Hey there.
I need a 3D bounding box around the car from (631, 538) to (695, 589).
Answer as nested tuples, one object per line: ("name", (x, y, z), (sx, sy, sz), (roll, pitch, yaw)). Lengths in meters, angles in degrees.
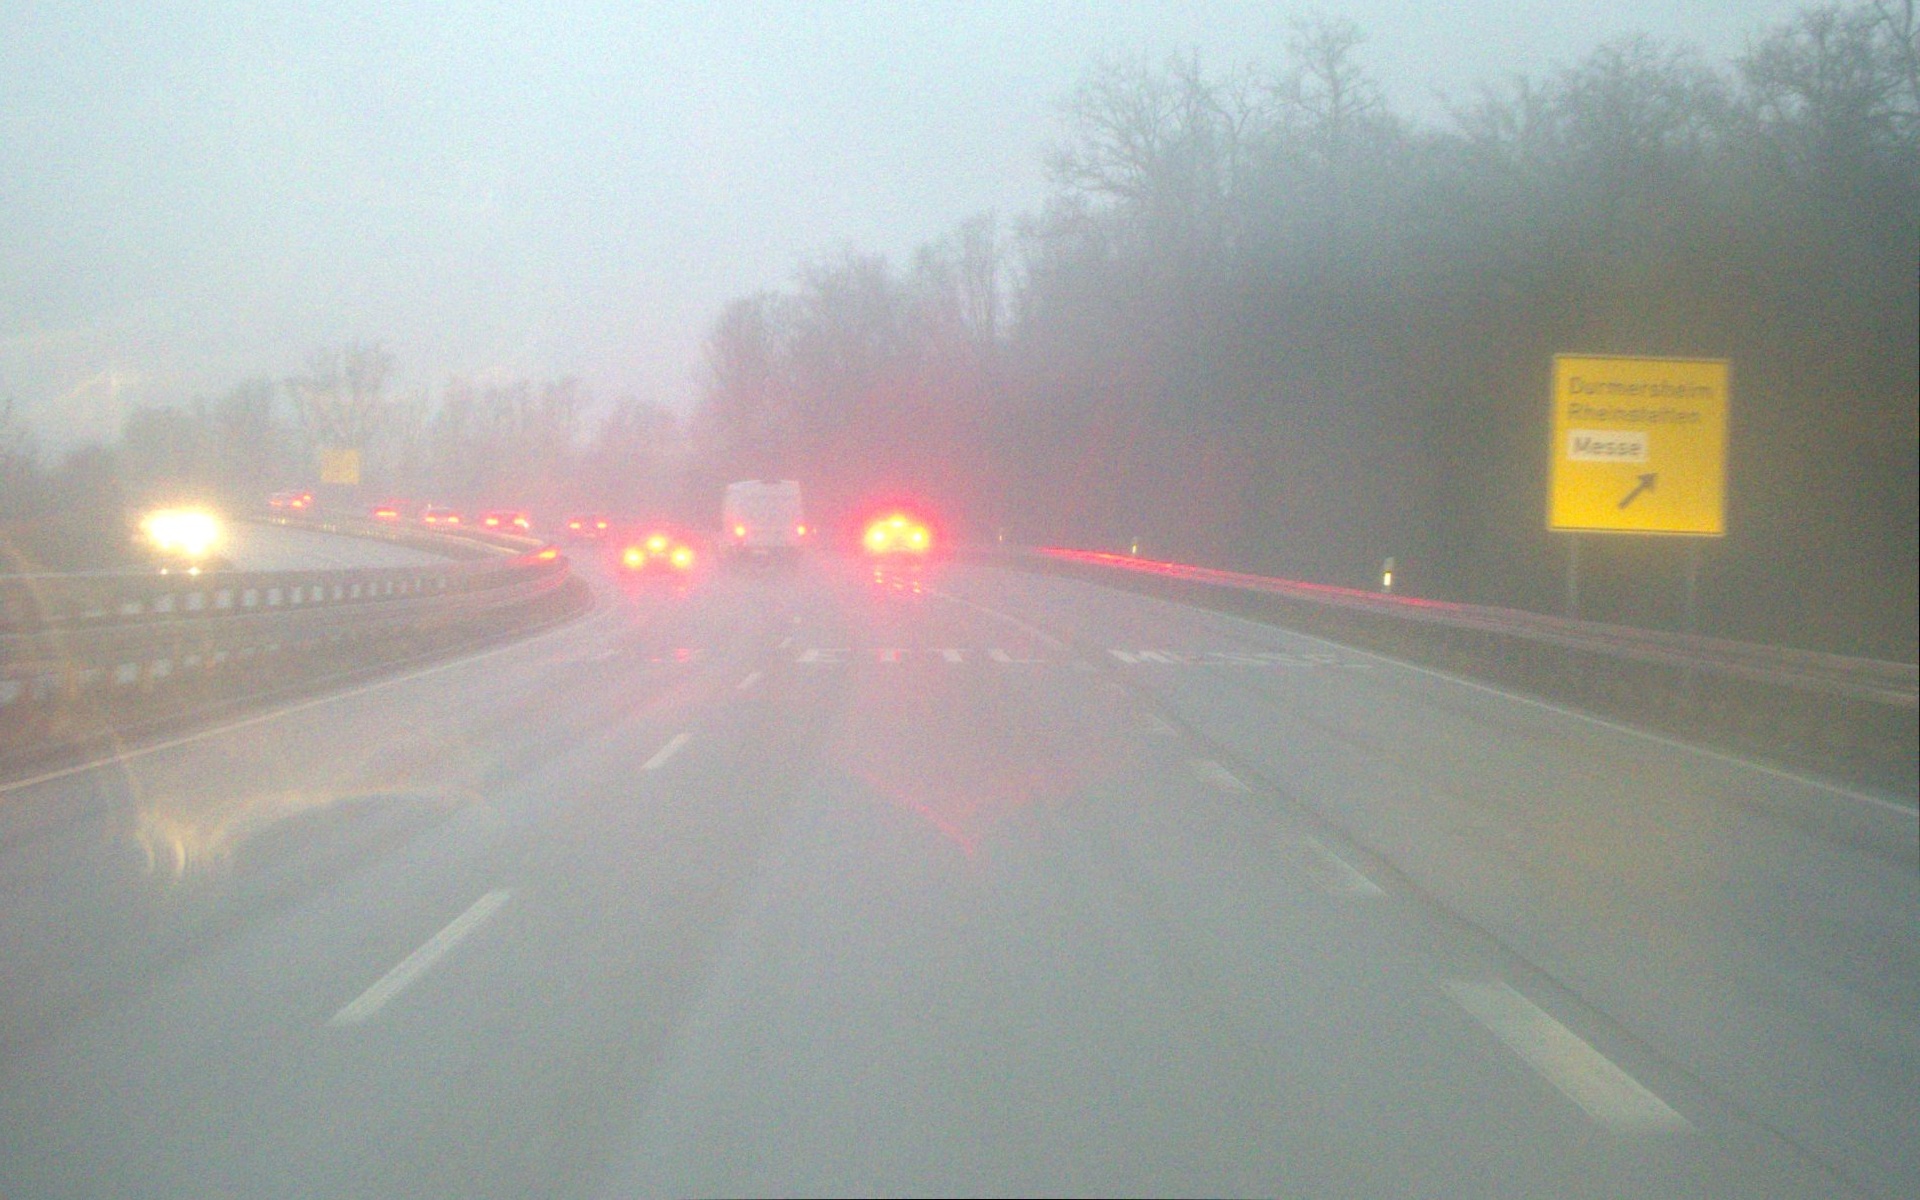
("car", (-7.955, -0.984, 92.272), (1.416, 1.312, 3.083), (2, 1, 0))
